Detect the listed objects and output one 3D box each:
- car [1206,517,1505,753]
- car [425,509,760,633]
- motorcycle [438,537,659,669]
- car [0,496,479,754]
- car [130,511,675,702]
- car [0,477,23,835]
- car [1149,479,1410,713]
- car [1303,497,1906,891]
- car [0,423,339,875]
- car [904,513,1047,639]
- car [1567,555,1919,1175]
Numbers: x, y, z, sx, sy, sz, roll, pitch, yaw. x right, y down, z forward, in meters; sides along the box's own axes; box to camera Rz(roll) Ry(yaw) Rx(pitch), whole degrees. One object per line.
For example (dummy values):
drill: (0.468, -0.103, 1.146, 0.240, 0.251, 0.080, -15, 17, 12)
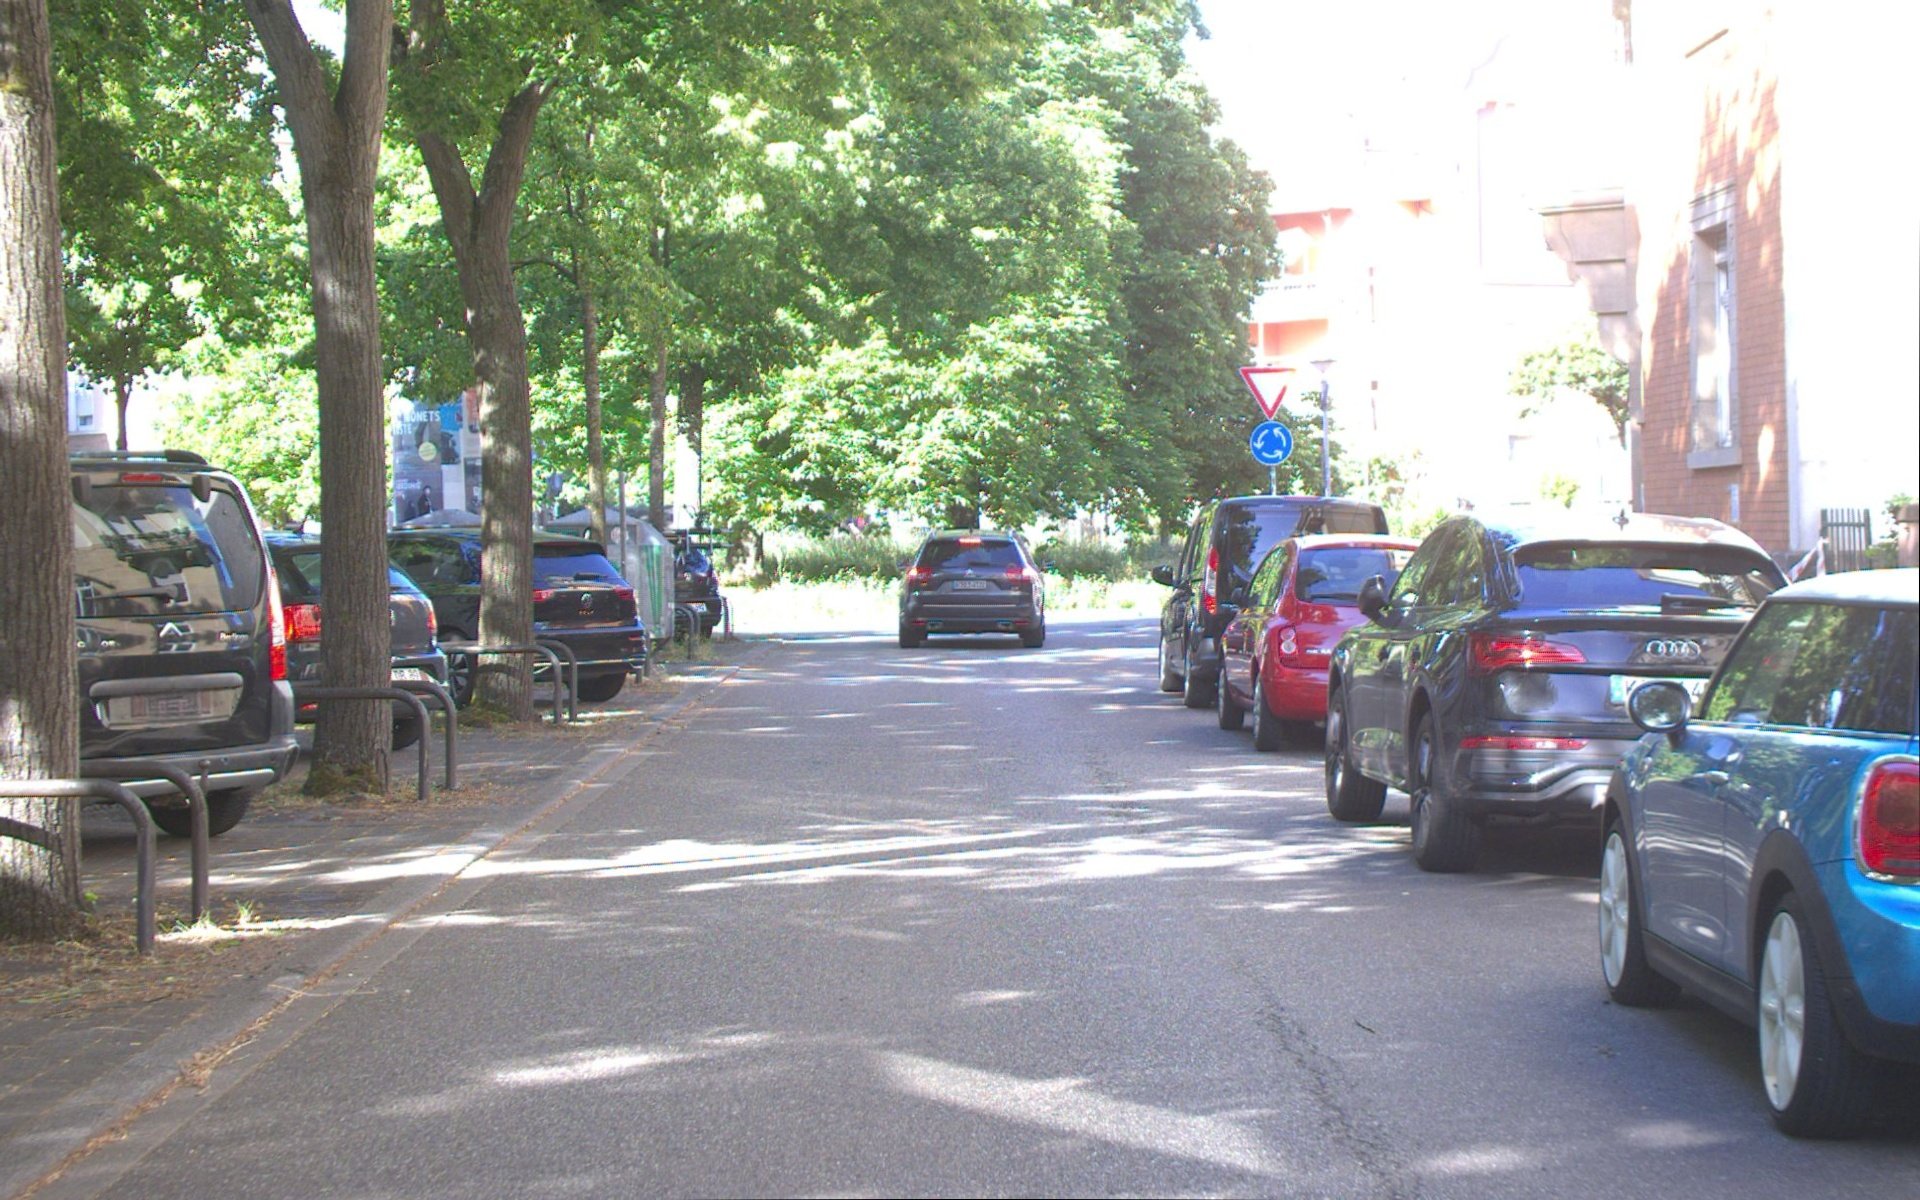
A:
car: (2.837, 0.191, 25.424, 1.645, 1.532, 4.000, 2, 1, -1)
car: (-4.596, -0.365, 42.694, 4.138, 1.476, 1.772, 1, 1, 40)
motorcycle: (-3.810, 0.024, 31.861, 1.939, 1.167, 0.518, -1, 1, 5)
car: (-5.158, 0.144, 22.217, 3.728, 1.576, 1.635, 0, 0, 12)
car: (-4.522, 0.039, 28.258, 4.089, 1.461, 1.867, 1, 0, 4)
car: (-7.225, -0.120, 13.938, 6.069, 2.614, 2.453, -4, -1, 16)
car: (2.771, -0.090, 30.668, 1.801, 1.864, 4.273, 3, 1, -1)
car: (2.948, 0.341, 16.760, 1.864, 1.638, 4.492, 1, 1, -3)
car: (-4.965, 0.150, 16.133, 3.846, 1.882, 1.840, 1, 2, 35)
car: (0.228, -0.348, 44.111, 1.714, 1.478, 4.145, -1, 2, 1)
car: (2.848, 0.611, 9.876, 1.590, 1.410, 3.632, 1, 1, 1)
